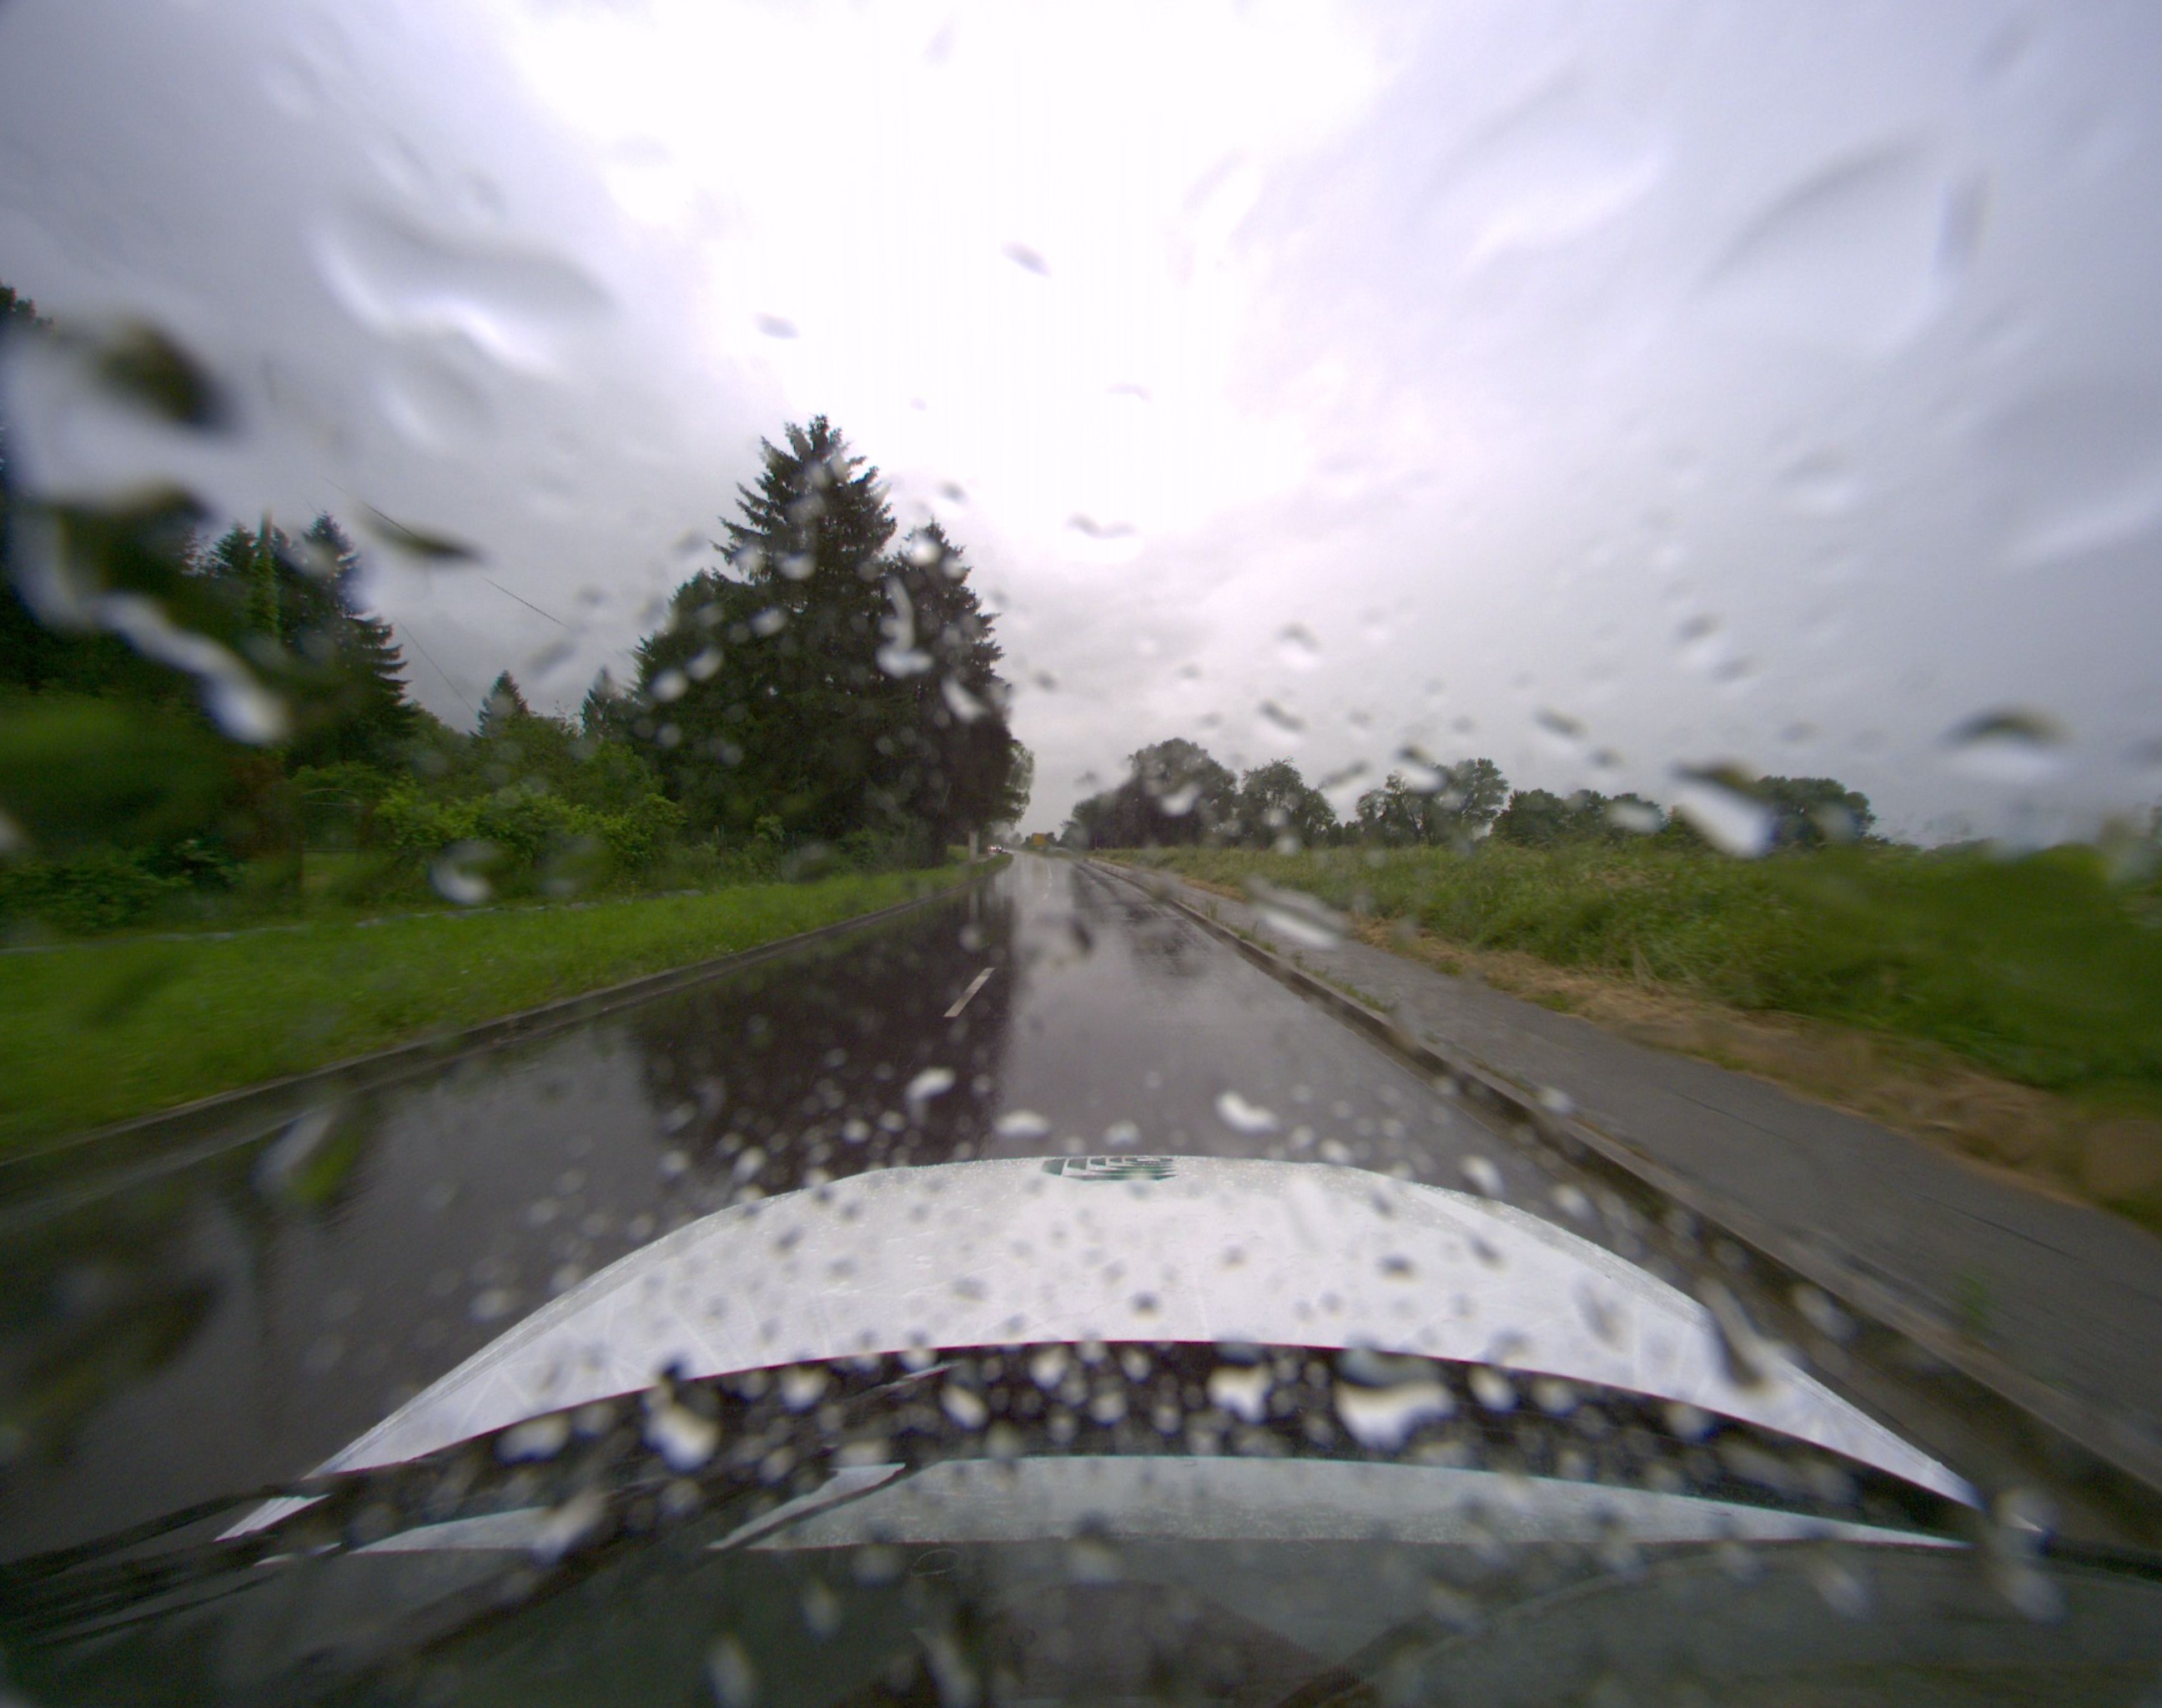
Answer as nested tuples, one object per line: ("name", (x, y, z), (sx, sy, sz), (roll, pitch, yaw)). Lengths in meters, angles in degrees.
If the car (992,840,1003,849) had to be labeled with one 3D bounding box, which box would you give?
("car", (-20.743, -2.338, 202.269), (1.766, 1.551, 3.978), (-3, 8, -19))
